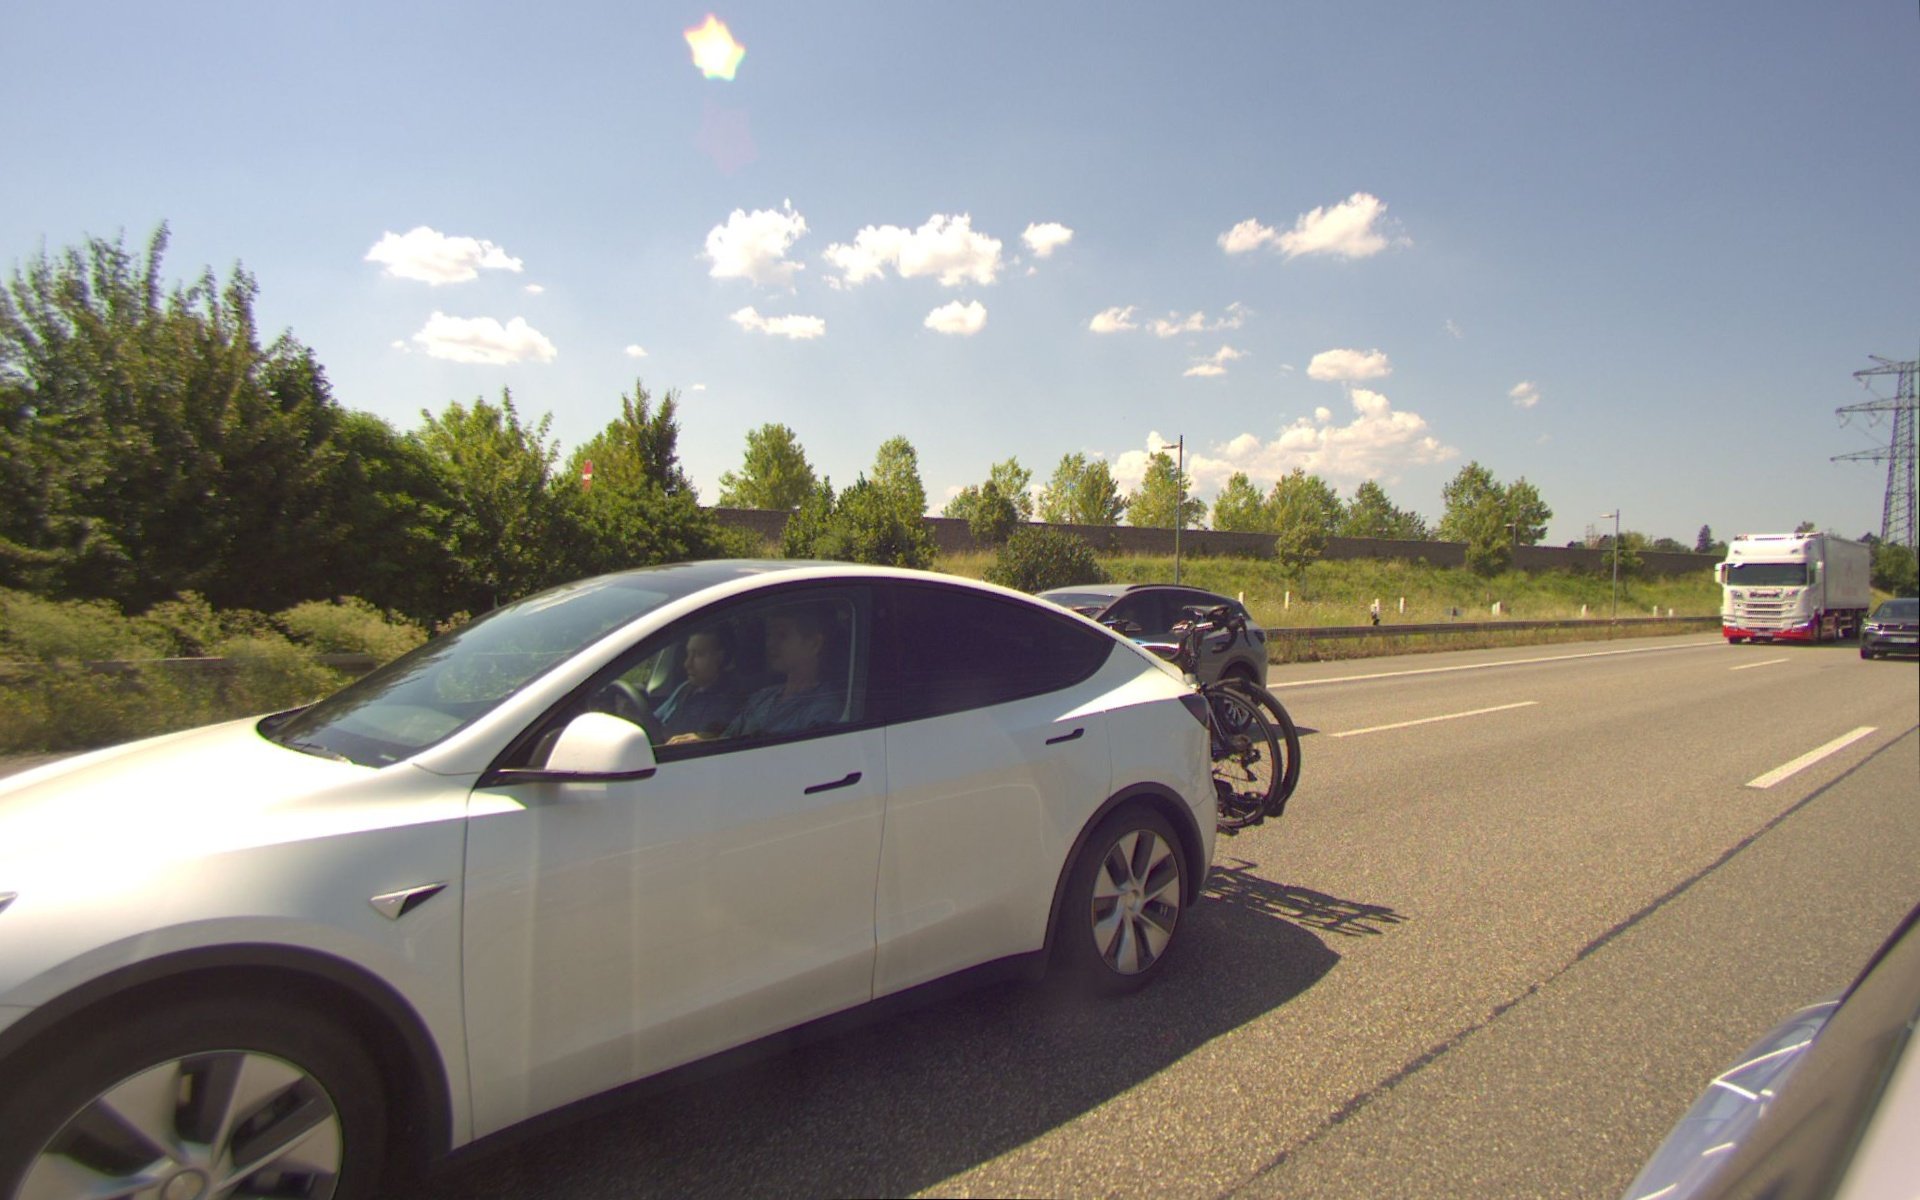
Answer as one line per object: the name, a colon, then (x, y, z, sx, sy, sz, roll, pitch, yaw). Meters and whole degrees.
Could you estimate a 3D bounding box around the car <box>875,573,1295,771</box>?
car: (1.478, 0.579, 10.678, 4.505, 1.657, 1.871, -1, 0, -41)

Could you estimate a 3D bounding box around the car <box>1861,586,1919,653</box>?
car: (25.368, 0.462, 26.599, 3.975, 1.667, 1.954, -1, 0, -40)

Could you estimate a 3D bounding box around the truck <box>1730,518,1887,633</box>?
truck: (33.739, -0.884, 39.980, 12.289, 3.957, 3.073, 0, 0, -42)

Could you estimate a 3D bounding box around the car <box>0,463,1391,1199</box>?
car: (-0.542, 0.576, 3.957, 5.504, 1.657, 1.953, -1, 0, -42)

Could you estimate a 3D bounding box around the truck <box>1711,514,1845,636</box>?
truck: (28.486, -0.834, 35.230, 3.781, 3.957, 3.073, 0, 0, -42)
